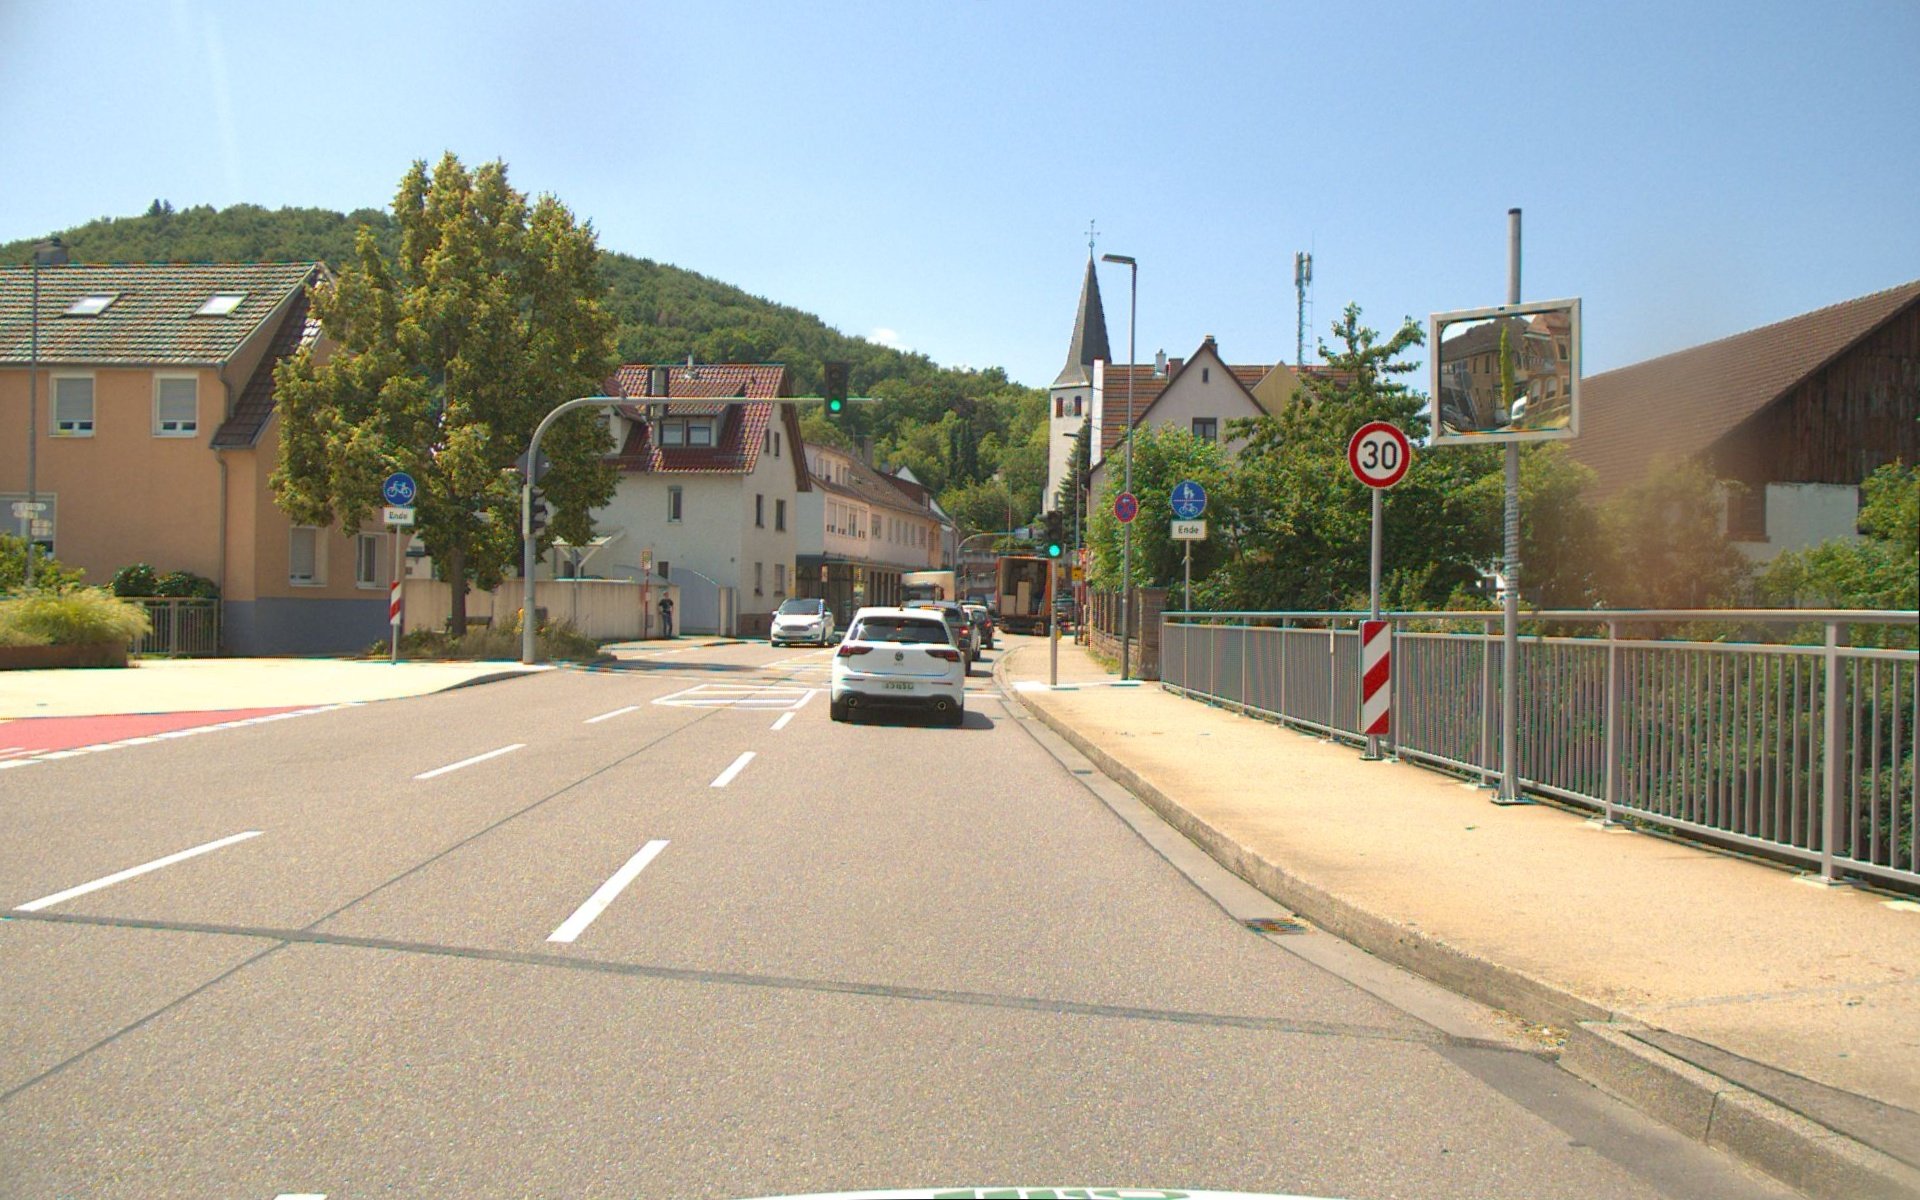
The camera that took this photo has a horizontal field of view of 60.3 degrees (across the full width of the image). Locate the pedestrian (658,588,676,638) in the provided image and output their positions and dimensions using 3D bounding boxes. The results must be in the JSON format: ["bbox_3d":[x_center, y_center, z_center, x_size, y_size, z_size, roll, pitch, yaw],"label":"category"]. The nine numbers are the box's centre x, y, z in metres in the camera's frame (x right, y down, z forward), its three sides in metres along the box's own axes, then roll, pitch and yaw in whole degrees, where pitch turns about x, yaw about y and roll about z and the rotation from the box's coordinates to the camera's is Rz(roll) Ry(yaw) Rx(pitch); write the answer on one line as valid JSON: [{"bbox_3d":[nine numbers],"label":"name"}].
[{"bbox_3d":[-10.702,0.469,60.437,0.425,1.795,0.557,0,0,21],"label":"pedestrian"}]

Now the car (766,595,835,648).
[{"bbox_3d":[-5.390,0.723,56.428,1.777,1.678,4.001,2,-1,2],"label":"car"}]

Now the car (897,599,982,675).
[{"bbox_3d":[-0.426,0.835,38.073,1.777,1.657,4.001,0,-1,2],"label":"car"}]

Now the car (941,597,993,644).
[{"bbox_3d":[0.289,0.763,61.156,1.777,1.657,4.001,0,-1,2],"label":"car"}]

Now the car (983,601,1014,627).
[{"bbox_3d":[2.293,0.841,98.491,1.777,1.546,4.001,0,-1,2],"label":"car"}]

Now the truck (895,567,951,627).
[{"bbox_3d":[-2.048,-0.108,93.921,2.449,3.292,6.043,0,-1,5],"label":"truck"}]

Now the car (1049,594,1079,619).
[{"bbox_3d":[6.576,0.403,105.007,1.777,1.546,4.001,0,-1,2],"label":"car"}]

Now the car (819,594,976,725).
[{"bbox_3d":[-0.753,0.763,22.391,1.777,1.545,4.001,2,-1,2],"label":"car"}]

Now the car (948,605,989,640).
[{"bbox_3d":[0.415,1.021,75.336,1.777,1.546,4.001,0,-1,2],"label":"car"}]

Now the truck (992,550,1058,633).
[{"bbox_3d":[3.629,-0.375,90.057,3.296,4.243,9.523,0,-1,4],"label":"truck"}]

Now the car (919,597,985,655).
[{"bbox_3d":[-0.197,0.761,48.755,1.777,1.657,4.001,0,-1,2],"label":"car"}]

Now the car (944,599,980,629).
[{"bbox_3d":[0.108,0.766,87.513,1.777,1.546,4.001,0,-1,2],"label":"car"}]
